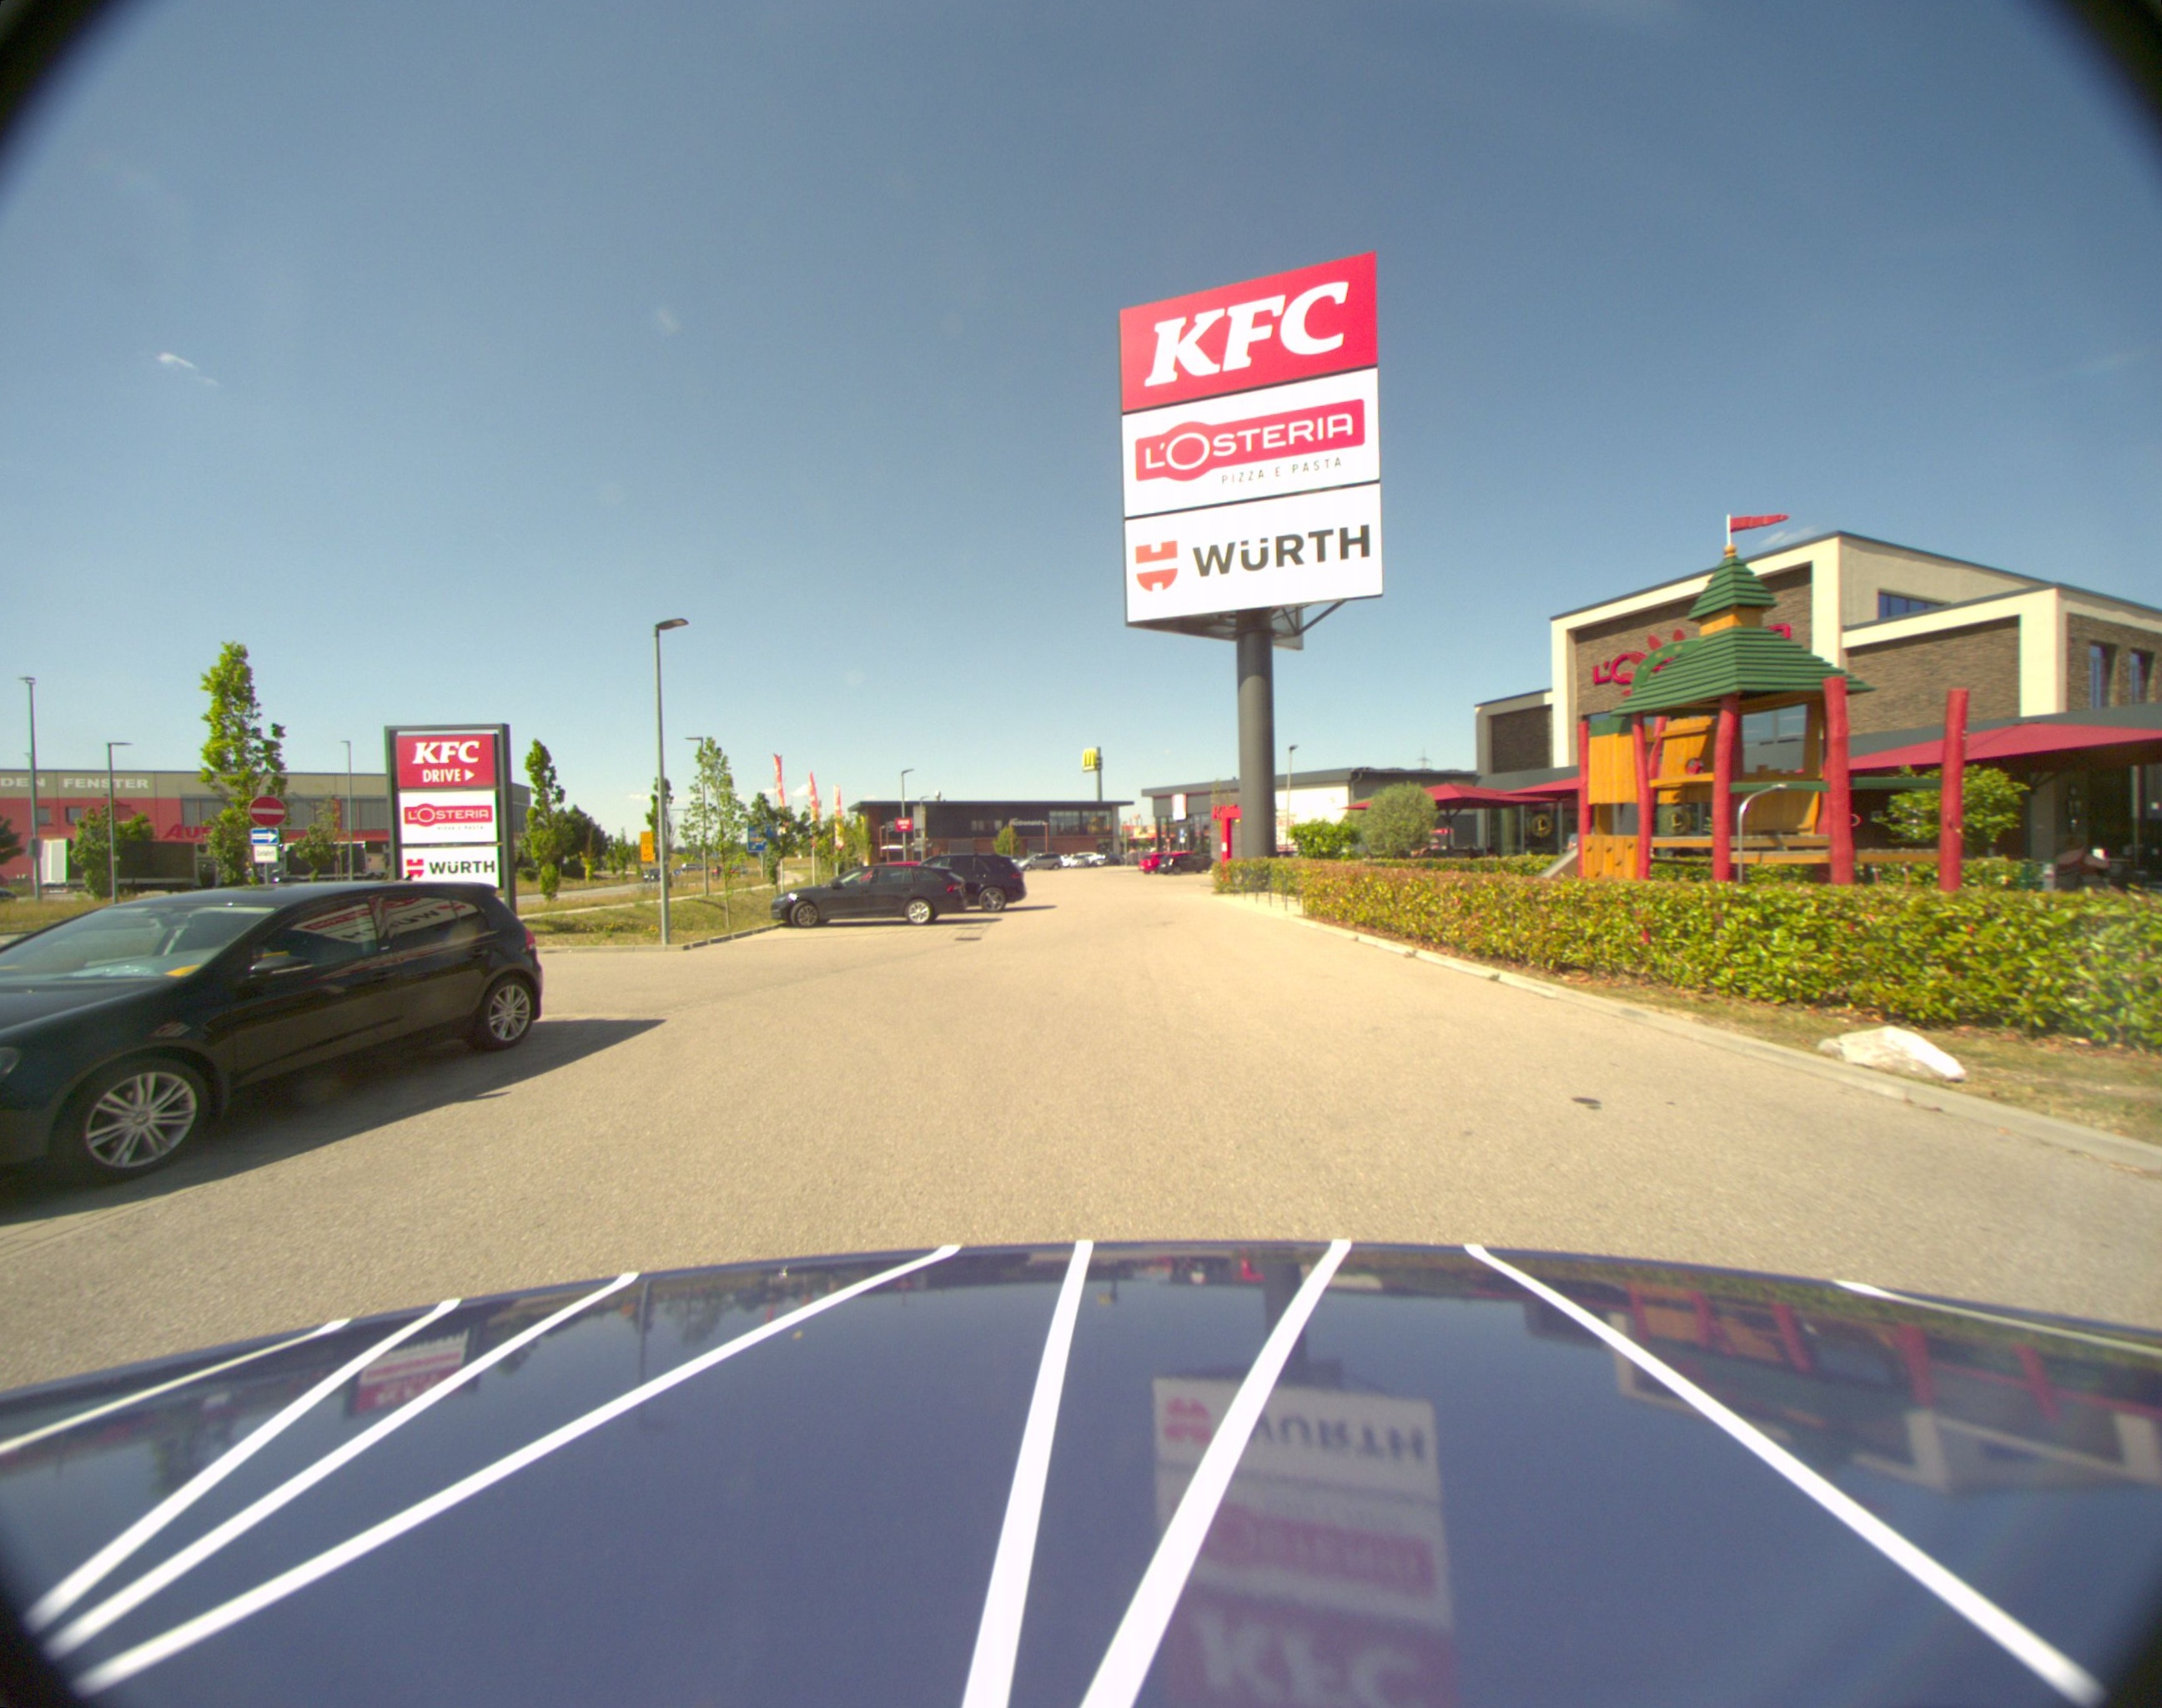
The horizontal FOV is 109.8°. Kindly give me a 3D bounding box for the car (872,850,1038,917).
[{"bbox_3d":[-3.709,0.845,22.894,4.529,1.825,2.000,-1,1,4],"label":"car"}]

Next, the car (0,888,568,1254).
[{"bbox_3d":[-5.789,1.083,4.929,1.877,1.457,4.364,-2,0,1],"label":"car"}]

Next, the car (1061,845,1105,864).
[{"bbox_3d":[0.262,0.032,86.344,4.489,2.002,1.996,-3,1,-22],"label":"car"}]

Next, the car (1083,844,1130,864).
[{"bbox_3d":[2.732,0.000,80.728,4.489,2.002,1.996,-3,1,-22],"label":"car"}]

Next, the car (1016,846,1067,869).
[{"bbox_3d":[-3.886,0.321,74.711,4.489,2.002,1.996,-3,1,-22],"label":"car"}]

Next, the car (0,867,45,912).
[{"bbox_3d":[-51.545,1.719,34.893,4.485,2.026,1.998,-2,1,-9],"label":"car"}]

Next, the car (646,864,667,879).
[{"bbox_3d":[-45.514,1.892,81.425,1.831,1.532,3.991,-2,0,-30],"label":"car"}]

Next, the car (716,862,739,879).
[{"bbox_3d":[-34.224,1.546,73.499,1.831,1.532,3.991,-2,1,-26],"label":"car"}]

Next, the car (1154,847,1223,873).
[{"bbox_3d":[7.102,0.393,50.207,4.101,1.556,1.875,-2,1,-22],"label":"car"}]

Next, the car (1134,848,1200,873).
[{"bbox_3d":[5.959,0.451,52.682,4.101,1.556,1.875,-2,1,-22],"label":"car"}]

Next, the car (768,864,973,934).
[{"bbox_3d":[-5.012,1.046,18.684,4.533,1.450,1.999,-2,1,-6],"label":"car"}]
